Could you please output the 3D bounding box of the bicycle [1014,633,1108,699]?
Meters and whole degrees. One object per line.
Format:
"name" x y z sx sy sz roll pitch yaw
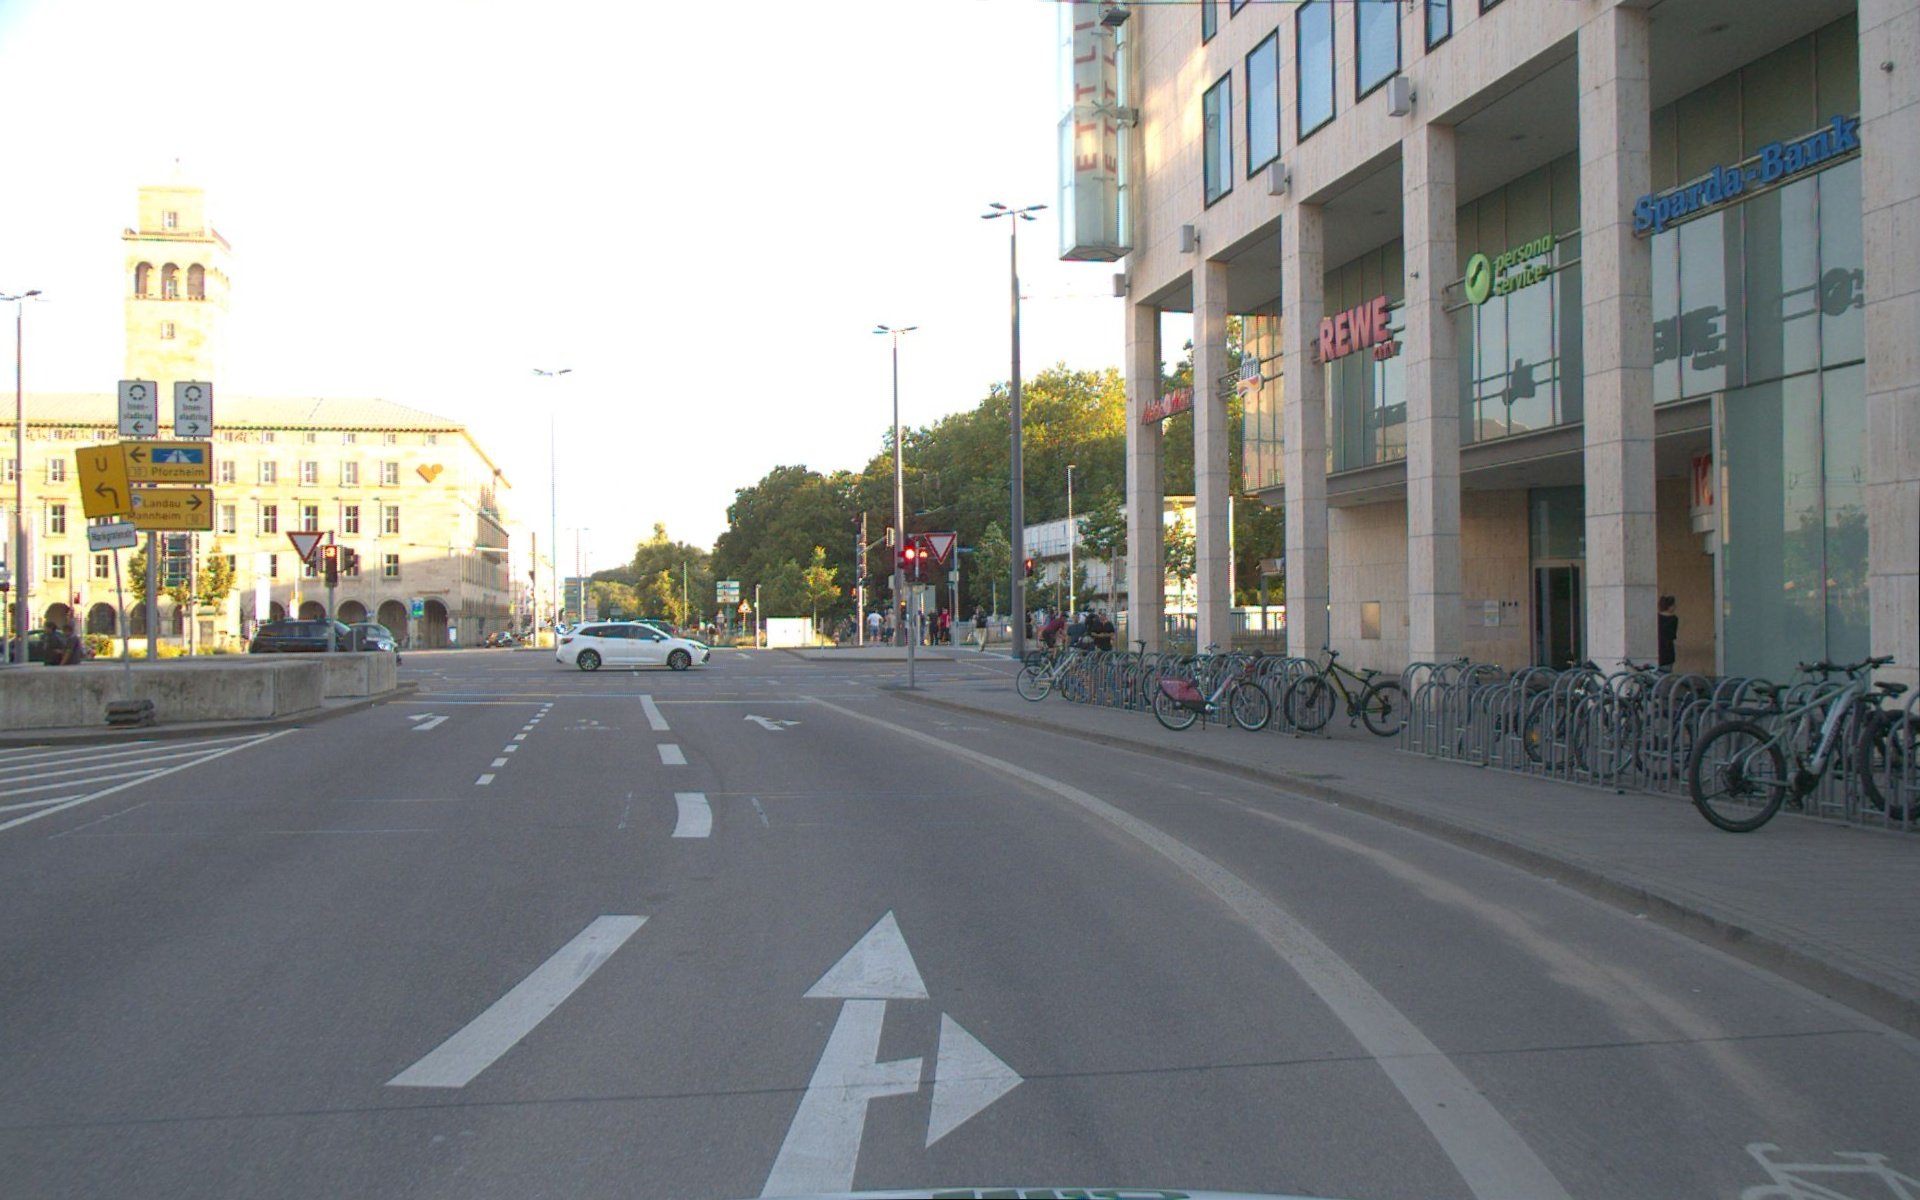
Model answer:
"bicycle" 1.959 1.271 32.161 1.779 1.234 0.571 -1 -1 3

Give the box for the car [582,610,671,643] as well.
"car" -15.944 1.243 79.112 3.928 1.478 1.532 -1 0 -27

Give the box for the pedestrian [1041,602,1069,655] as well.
"pedestrian" 3.154 0.950 55.150 0.874 1.760 0.688 -1 -1 0

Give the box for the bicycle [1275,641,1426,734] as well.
"bicycle" 5.047 1.131 21.408 1.781 1.119 0.600 2 -1 -5

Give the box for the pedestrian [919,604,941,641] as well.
"pedestrian" -1.429 1.065 78.449 0.683 1.760 0.797 0 -1 -45

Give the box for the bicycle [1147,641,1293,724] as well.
"bicycle" 3.531 1.116 22.492 1.862 1.066 0.569 -1 -1 -8

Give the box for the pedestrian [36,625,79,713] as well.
"pedestrian" -18.828 1.429 34.502 0.732 1.808 0.853 1 -1 -33

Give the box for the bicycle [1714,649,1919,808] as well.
"bicycle" 6.806 0.979 12.834 1.732 1.149 0.515 -1 -1 -10

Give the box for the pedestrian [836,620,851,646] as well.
"pedestrian" -7.828 2.201 111.082 0.794 1.760 0.925 -1 -1 -14

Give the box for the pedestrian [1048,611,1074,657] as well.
"pedestrian" 3.914 1.317 64.032 0.822 1.760 0.685 -1 -1 -16

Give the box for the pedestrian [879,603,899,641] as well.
"pedestrian" -3.306 1.025 76.577 0.794 1.760 0.685 -1 -1 -14

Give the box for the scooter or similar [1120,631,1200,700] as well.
"scooter or similar" 3.523 1.143 29.194 1.254 1.180 0.671 0 -1 -14

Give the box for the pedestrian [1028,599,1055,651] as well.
"pedestrian" 2.784 0.854 56.681 0.874 1.760 0.688 -1 -1 4

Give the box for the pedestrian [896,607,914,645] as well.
"pedestrian" -2.577 1.212 77.539 0.791 1.760 0.688 -1 -1 0

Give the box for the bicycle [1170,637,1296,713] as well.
"bicycle" 4.244 1.156 25.727 1.836 1.133 0.569 1 -1 -9

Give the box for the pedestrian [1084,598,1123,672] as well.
"pedestrian" 3.641 0.881 42.024 0.743 1.807 0.739 -3 0 -11

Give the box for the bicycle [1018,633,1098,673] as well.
"bicycle" 2.796 1.508 47.287 2.203 1.080 0.651 -1 0 -13

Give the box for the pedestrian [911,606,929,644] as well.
"pedestrian" -1.841 1.160 76.847 0.791 1.760 0.688 -1 -1 0

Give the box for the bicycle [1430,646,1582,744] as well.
"bicycle" 6.274 1.077 18.988 1.680 1.041 0.596 -1 -1 -24

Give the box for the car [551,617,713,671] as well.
"car" -9.974 1.308 50.368 4.714 1.522 2.121 -1 0 -13

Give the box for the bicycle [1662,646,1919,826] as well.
"bicycle" 5.916 0.916 11.400 1.950 1.149 0.569 -1 -1 -8

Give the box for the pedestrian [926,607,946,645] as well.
"pedestrian" -1.116 1.202 76.899 0.794 1.760 0.685 -1 -1 -13

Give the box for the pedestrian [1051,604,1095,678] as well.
"pedestrian" 2.853 1.041 41.888 0.845 1.807 0.739 -3 0 -11

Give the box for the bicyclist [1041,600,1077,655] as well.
"bicyclist" 2.823 0.788 47.298 0.864 1.557 0.651 -1 0 -12

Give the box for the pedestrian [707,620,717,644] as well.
"pedestrian" -15.049 1.946 100.520 0.514 1.398 0.685 -1 -1 -16

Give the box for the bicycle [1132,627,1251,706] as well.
"bicycle" 3.842 1.099 27.455 1.835 1.282 0.671 1 -1 -14

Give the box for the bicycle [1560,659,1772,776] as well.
"bicycle" 6.285 1.029 14.735 1.777 0.953 0.514 -1 -1 -14

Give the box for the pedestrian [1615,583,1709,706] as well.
"pedestrian" 10.692 0.667 25.223 0.846 1.808 0.987 -2 0 -13

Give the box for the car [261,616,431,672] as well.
"car" -17.975 1.270 48.628 4.383 1.522 2.121 -1 0 -13

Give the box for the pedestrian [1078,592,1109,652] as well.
"pedestrian" 4.237 0.697 52.568 0.875 1.863 0.687 -1 -1 -4

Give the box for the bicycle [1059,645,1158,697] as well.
"bicycle" 2.868 1.365 31.963 1.835 0.953 0.514 -1 -1 -14

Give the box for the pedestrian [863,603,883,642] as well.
"pedestrian" -4.008 1.037 76.182 0.794 1.760 0.685 -1 -1 -14

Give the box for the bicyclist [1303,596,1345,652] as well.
"bicyclist" 10.846 0.709 49.292 1.001 1.649 0.652 -1 0 -11

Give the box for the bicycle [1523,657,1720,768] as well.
"bicycle" 6.135 1.027 15.353 1.708 0.953 0.514 -1 -1 -14

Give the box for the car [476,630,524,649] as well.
"car" -41.871 3.599 150.697 1.957 1.691 3.990 -1 0 32

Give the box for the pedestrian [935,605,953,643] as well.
"pedestrian" -0.756 1.132 77.772 0.792 1.760 0.687 -1 -1 -4

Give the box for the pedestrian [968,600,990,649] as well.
"pedestrian" 0.708 0.896 60.887 0.679 1.760 0.739 -1 -1 -10

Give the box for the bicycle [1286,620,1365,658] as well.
"bicycle" 10.883 1.157 49.290 2.202 1.080 0.652 -1 0 -11

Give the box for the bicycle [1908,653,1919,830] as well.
"bicycle" 7.277 0.955 10.796 1.950 1.149 0.555 2 -1 -8

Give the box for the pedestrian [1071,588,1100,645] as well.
"pedestrian" 4.183 0.559 55.208 0.874 1.872 0.688 -1 -1 -1

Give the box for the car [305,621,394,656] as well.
"car" -27.321 1.710 74.067 3.657 1.478 1.537 -1 0 -19

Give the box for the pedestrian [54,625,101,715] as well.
"pedestrian" -18.207 1.433 34.118 0.732 1.808 0.853 -1 -1 -35

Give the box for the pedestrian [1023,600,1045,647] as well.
"pedestrian" 2.840 0.889 63.428 0.818 1.760 0.688 -1 -1 4
